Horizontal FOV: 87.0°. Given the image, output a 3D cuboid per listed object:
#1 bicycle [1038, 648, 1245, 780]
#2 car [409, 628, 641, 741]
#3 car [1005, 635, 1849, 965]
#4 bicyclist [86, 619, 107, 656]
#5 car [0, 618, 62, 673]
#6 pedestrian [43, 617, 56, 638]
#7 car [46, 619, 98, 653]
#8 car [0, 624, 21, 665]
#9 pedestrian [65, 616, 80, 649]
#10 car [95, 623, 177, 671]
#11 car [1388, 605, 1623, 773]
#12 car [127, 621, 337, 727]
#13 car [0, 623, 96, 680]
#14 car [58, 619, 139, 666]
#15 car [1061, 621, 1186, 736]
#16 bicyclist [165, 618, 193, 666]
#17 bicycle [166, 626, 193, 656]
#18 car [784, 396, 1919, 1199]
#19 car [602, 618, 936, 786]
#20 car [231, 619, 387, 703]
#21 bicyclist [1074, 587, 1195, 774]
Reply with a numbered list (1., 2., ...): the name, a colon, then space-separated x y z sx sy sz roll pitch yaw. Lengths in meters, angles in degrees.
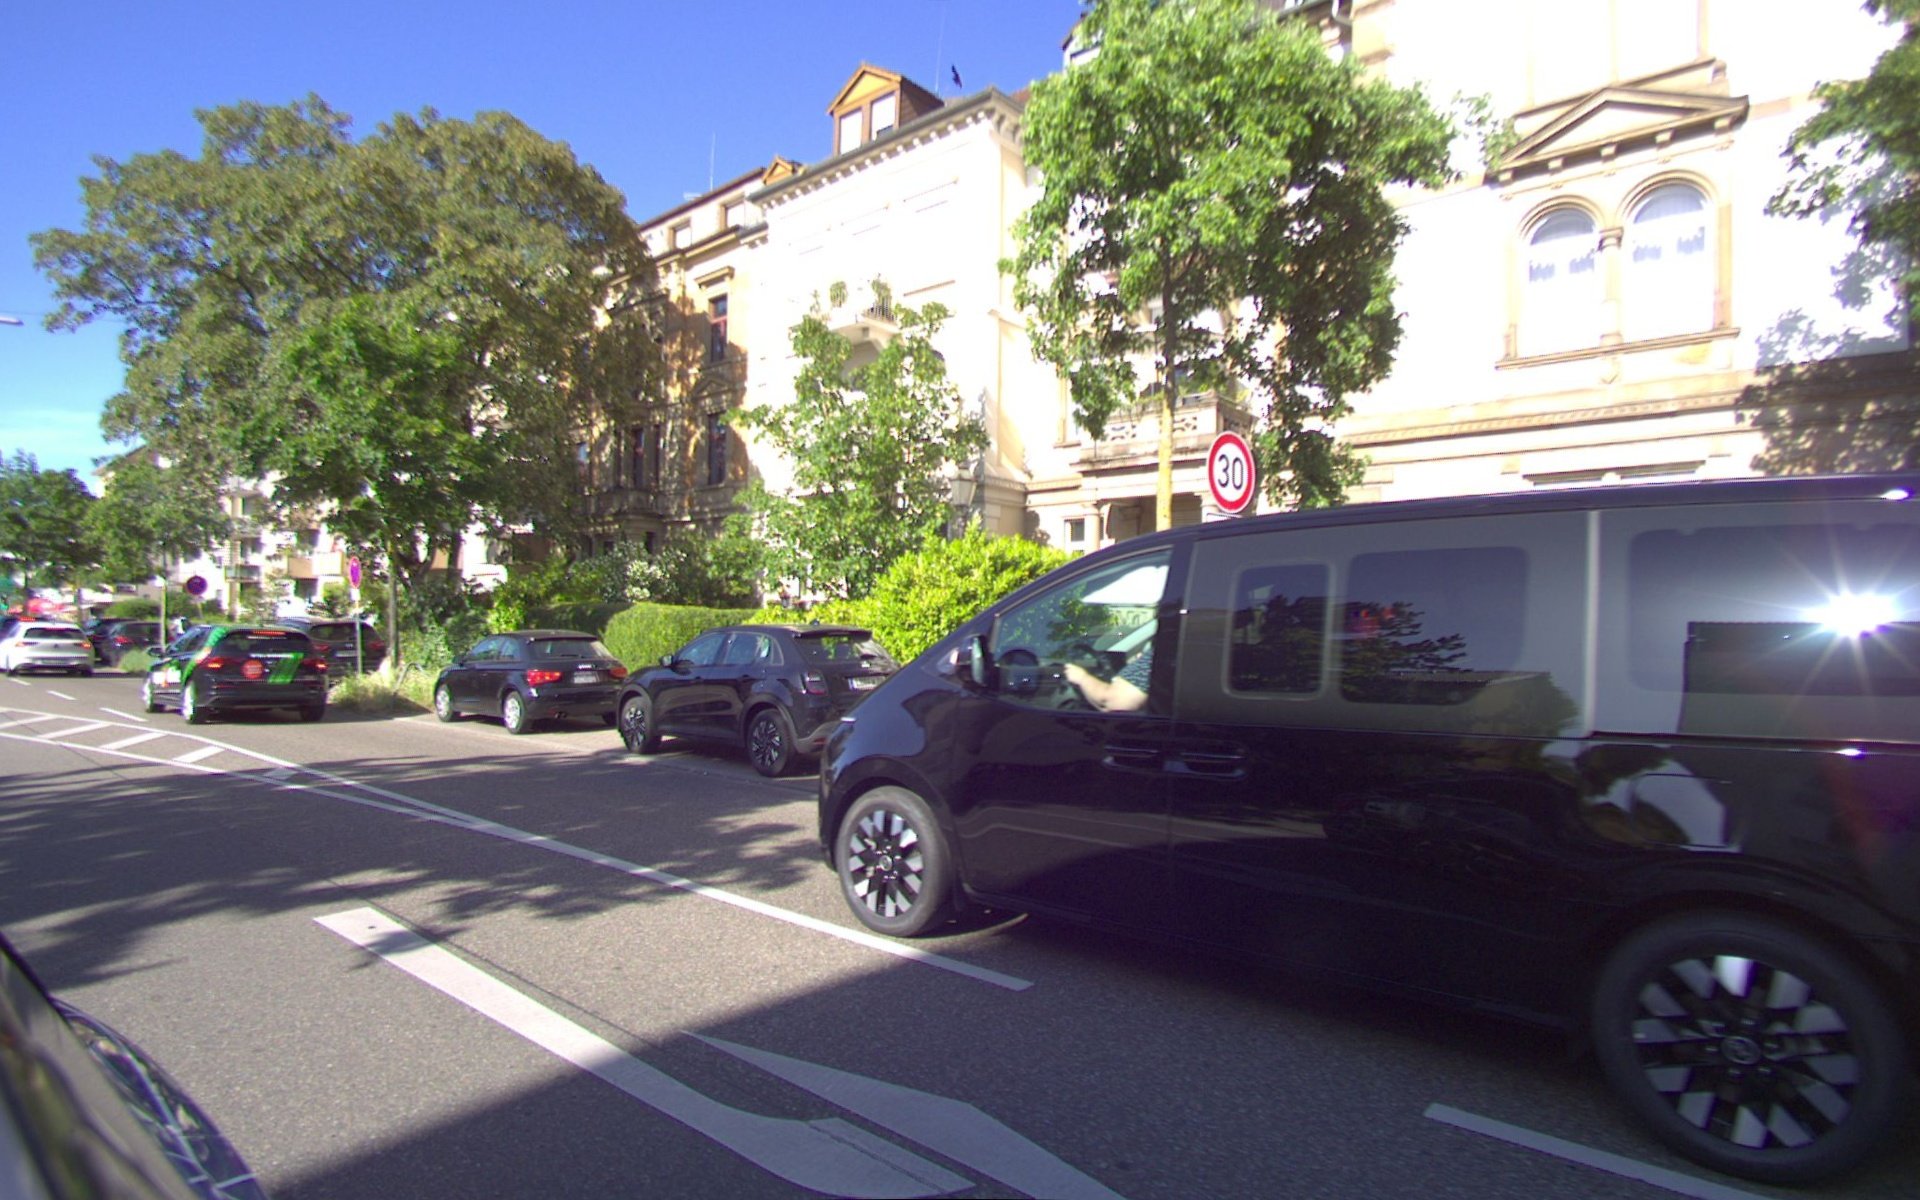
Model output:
1. bicycle: 1.827 1.122 10.482 2.191 1.202 0.443 -1 -3 41
2. car: -6.654 1.165 15.282 4.088 1.427 1.620 -1 0 41
3. car: 2.737 0.969 6.798 4.799 1.400 1.814 -1 -1 41
4. bicyclist: -41.167 1.793 48.236 0.691 1.767 0.602 -1 -2 41
5. car: -30.398 1.432 32.384 4.398 1.626 1.817 -1 -4 41
6. pedestrian: -70.705 2.142 78.556 0.682 1.671 0.650 -1 -2 42
7. car: -40.827 1.643 46.497 3.685 1.501 1.386 -1 -2 42
8. car: -35.809 1.614 37.020 3.740 1.463 1.565 -1 -3 39
9. pedestrian: -45.288 1.638 51.645 0.719 1.663 0.464 -1 -1 42
10. car: -27.387 1.513 33.596 3.931 1.488 1.584 -1 -1 43
11. car: 6.279 0.925 12.110 1.666 1.657 3.899 -1 -1 17
12. car: -11.594 1.109 16.019 4.170 1.464 1.674 -1 -5 40
13. car: -24.835 1.368 27.252 4.190 1.423 1.715 -1 -4 41
14. car: -31.448 1.500 36.897 4.393 1.617 1.652 -1 -1 42
15. car: 2.583 1.078 15.323 1.616 1.500 3.904 -1 -1 13
16. bicyclist: -29.440 1.581 38.155 1.207 1.780 0.576 -1 0 41
17. bicycle: -29.418 1.533 38.142 1.763 1.124 0.444 -1 0 41
18. car: 1.747 0.564 4.217 5.174 1.967 1.995 -1 -4 40
19. car: -2.289 1.000 11.490 4.007 1.566 1.660 -1 -2 42
20. car: -13.903 1.215 21.529 4.345 1.600 1.608 -1 -1 40
21. bicyclist: 1.813 0.807 10.548 1.054 1.838 0.651 -1 -3 41
